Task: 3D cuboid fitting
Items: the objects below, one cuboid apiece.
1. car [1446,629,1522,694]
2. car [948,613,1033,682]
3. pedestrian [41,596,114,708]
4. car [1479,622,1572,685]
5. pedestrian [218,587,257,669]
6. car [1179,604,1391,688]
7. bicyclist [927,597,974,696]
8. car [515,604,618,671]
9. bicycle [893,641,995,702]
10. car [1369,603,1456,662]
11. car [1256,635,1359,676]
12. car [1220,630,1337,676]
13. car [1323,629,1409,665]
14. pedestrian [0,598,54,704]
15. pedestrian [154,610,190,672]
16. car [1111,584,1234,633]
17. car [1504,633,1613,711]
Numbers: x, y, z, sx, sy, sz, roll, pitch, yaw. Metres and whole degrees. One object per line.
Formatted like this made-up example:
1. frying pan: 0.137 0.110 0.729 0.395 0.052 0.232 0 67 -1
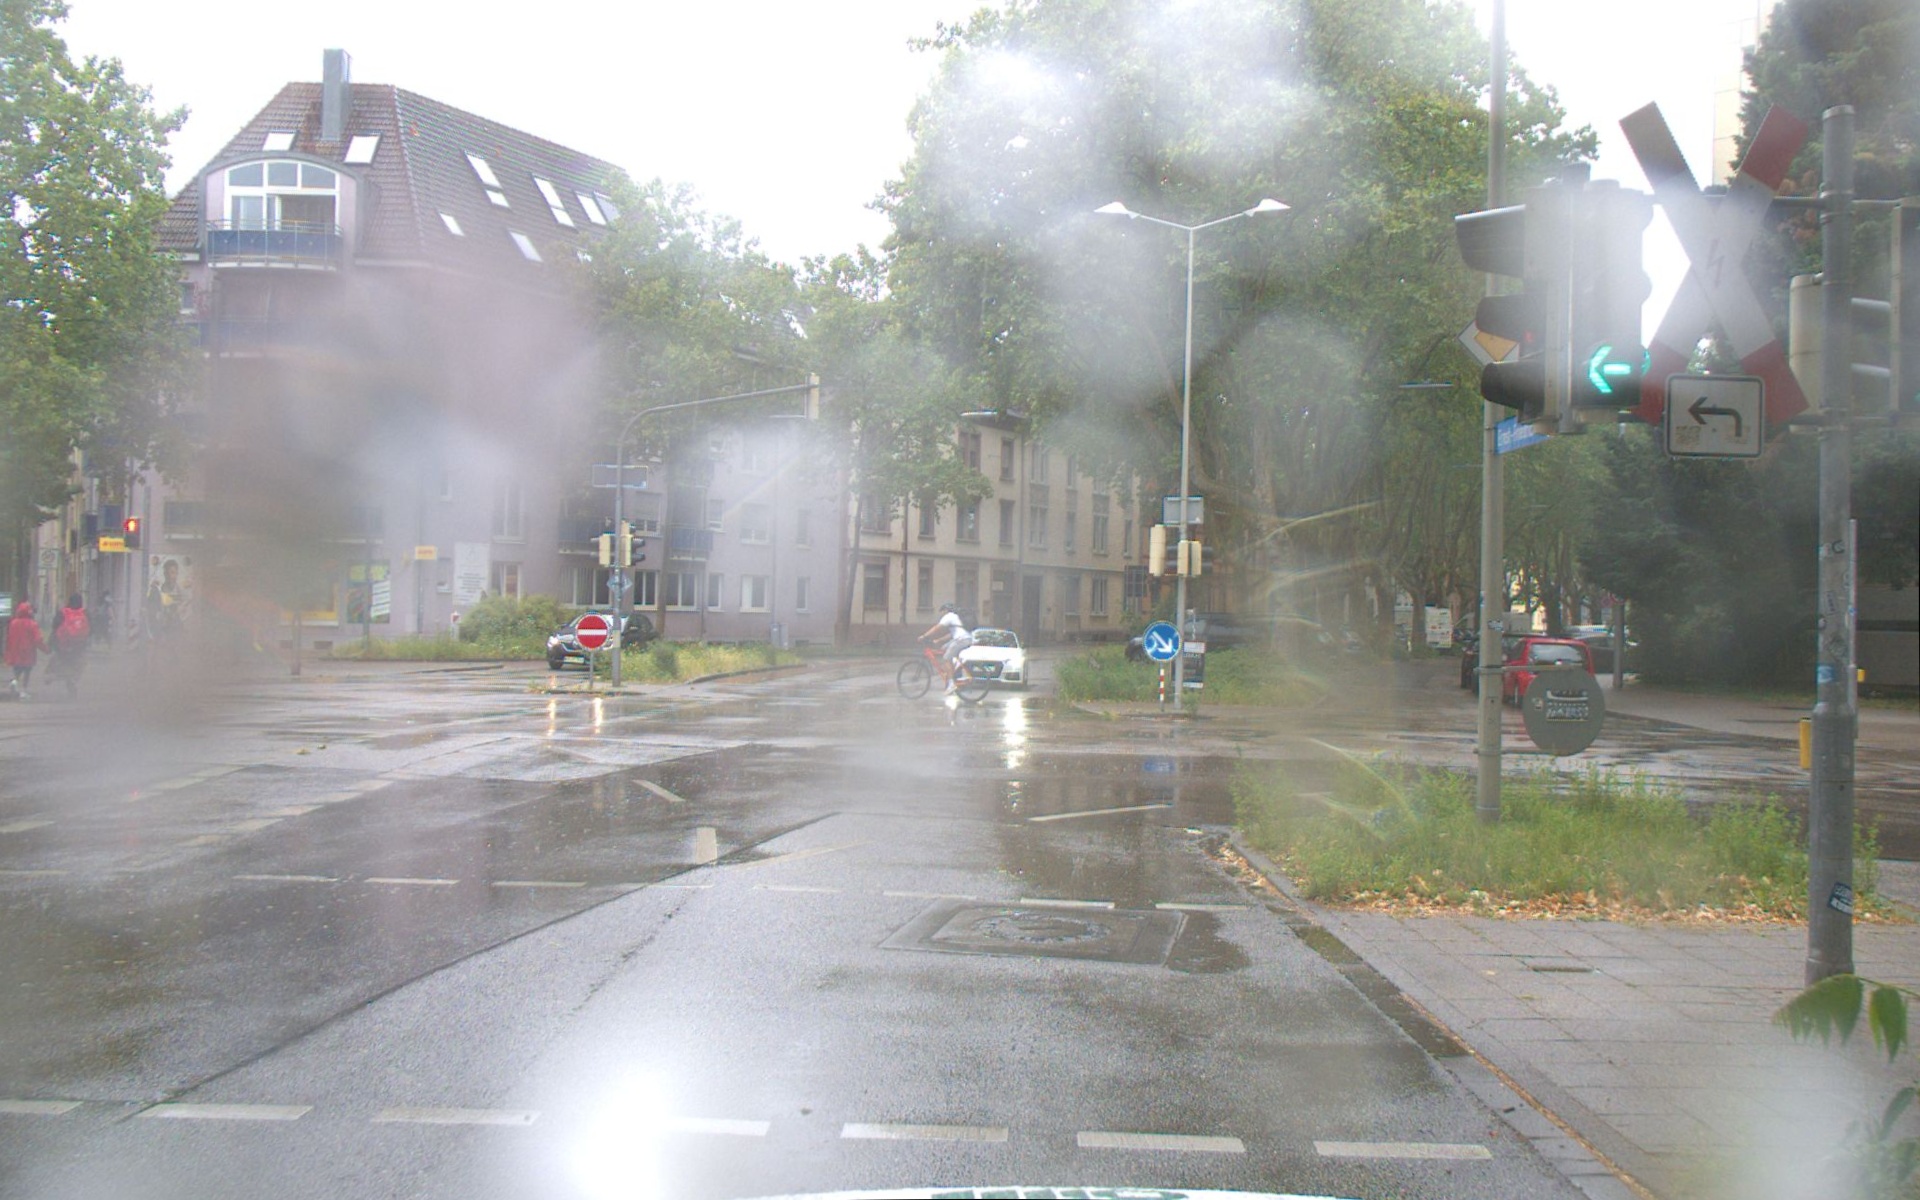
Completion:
1. car: 14.968 1.725 47.371 1.745 1.757 4.003 1 -1 13
2. car: 0.713 1.060 38.556 1.845 1.461 4.000 1 0 1
3. pedestrian: -13.236 0.766 24.833 0.715 1.653 0.816 0 1 -8
4. car: 13.880 1.284 40.771 1.745 1.371 3.932 1 0 13
5. pedestrian: -16.829 0.655 38.520 0.777 1.888 0.676 1 -1 -25
6. car: 6.325 0.873 32.245 3.902 1.512 2.002 1 -1 12
7. bicyclist: -0.179 0.865 31.063 0.778 1.817 0.697 1 -1 7
8. car: -9.644 0.900 40.795 1.716 1.538 3.837 1 0 -2
9. bicycle: -0.300 1.333 31.059 1.833 1.100 0.657 1 -1 7
10. car: 23.901 1.702 87.538 2.005 3.000 4.742 1 -1 -21
11. car: 13.637 2.148 64.989 3.902 1.512 2.002 1 -1 12
12. car: 11.084 1.824 57.496 3.902 1.512 2.002 1 -1 12
13. car: 19.216 2.214 78.387 3.902 1.574 2.002 1 -1 12
14. pedestrian: -13.964 0.752 24.567 0.669 1.547 0.658 1 -1 -9
15. pedestrian: -18.409 0.958 38.635 0.643 1.420 0.773 1 -1 -35
16. car: 6.878 0.274 53.321 3.784 1.512 1.717 1 -1 12
17. car: 13.038 1.526 36.198 1.754 1.524 4.003 1 0 13
